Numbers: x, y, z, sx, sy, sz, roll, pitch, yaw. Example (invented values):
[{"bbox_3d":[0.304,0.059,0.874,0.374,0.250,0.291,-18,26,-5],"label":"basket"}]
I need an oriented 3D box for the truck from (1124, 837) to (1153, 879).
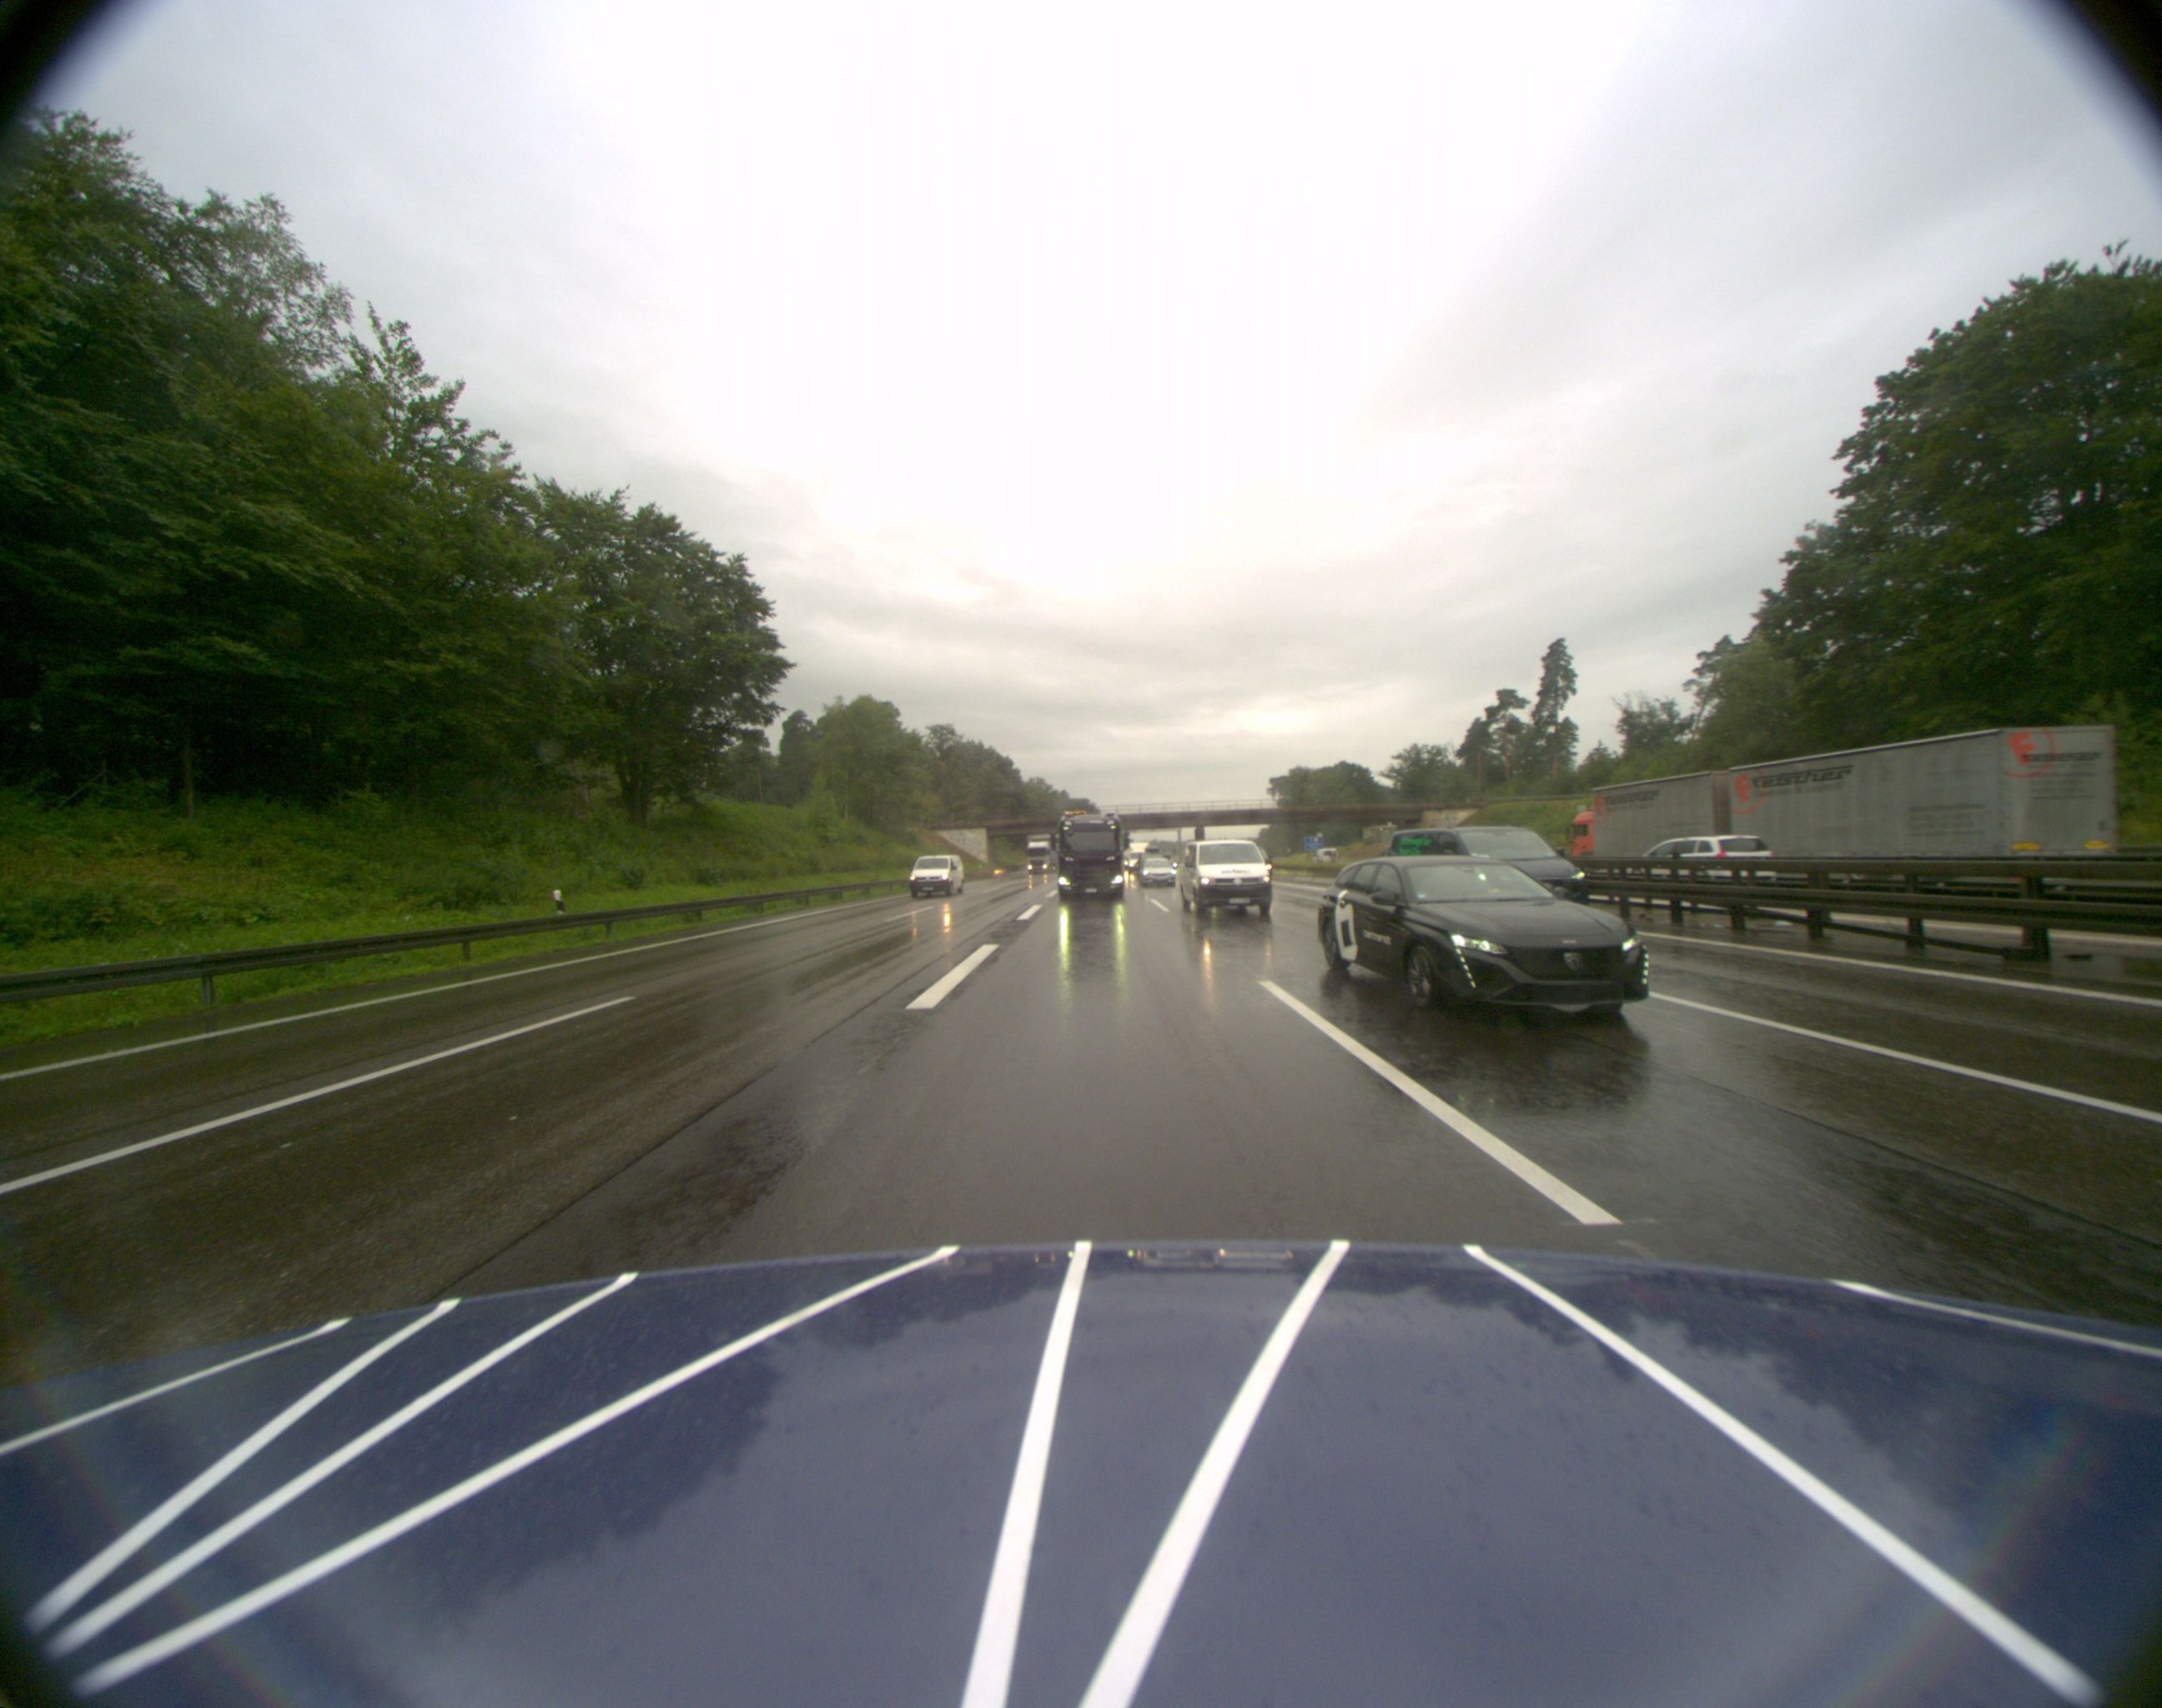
[{"bbox_3d":[5.817,0.373,77.321,2.521,3.941,6.995,-2,0,2],"label":"truck"}]

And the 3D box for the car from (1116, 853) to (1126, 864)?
[{"bbox_3d":[8.154,0.883,155.138,1.998,2.002,4.000,-2,0,1],"label":"car"}]

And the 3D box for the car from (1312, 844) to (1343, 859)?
[{"bbox_3d":[25.574,-0.249,78.939,1.840,1.489,4.332,-2,0,1],"label":"car"}]

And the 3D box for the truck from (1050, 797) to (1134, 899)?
[{"bbox_3d":[0.659,-0.270,32.673,2.879,3.528,10.912,-2,1,3],"label":"truck"}]

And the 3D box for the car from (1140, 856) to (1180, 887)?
[{"bbox_3d":[4.227,0.902,41.122,1.850,1.496,4.467,-2,0,2],"label":"car"}]

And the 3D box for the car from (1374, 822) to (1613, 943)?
[{"bbox_3d":[7.811,0.461,15.163,1.996,1.932,5.243,-2,0,2],"label":"car"}]

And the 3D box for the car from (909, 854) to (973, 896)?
[{"bbox_3d":[-6.814,0.971,37.429,1.994,1.909,4.768,-2,0,3],"label":"car"}]

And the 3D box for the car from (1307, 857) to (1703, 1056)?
[{"bbox_3d":[3.940,0.805,8.115,1.850,1.495,4.467,-1,0,2],"label":"car"}]

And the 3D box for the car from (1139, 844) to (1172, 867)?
[{"bbox_3d":[5.330,0.096,54.846,1.994,1.551,4.768,-2,0,2],"label":"car"}]

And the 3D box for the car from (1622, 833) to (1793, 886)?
[{"bbox_3d":[19.677,0.163,24.153,1.840,1.489,4.332,-2,0,0],"label":"car"}]

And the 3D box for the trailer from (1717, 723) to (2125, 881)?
[{"bbox_3d":[24.348,-1.273,23.130,2.689,3.795,9.008,-2,0,3],"label":"trailer"}]

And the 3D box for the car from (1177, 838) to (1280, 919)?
[{"bbox_3d":[3.871,0.593,20.721,1.994,1.869,4.768,-2,0,2],"label":"car"}]

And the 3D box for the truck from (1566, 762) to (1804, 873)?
[{"bbox_3d":[24.933,-1.307,32.383,2.710,3.909,10.030,-2,0,4],"label":"truck"}]

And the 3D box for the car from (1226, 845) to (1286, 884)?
[{"bbox_3d":[8.986,0.498,39.397,1.915,1.852,4.758,-2,0,0],"label":"car"}]

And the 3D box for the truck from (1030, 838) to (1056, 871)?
[{"bbox_3d":[-4.819,0.008,97.007,2.608,3.990,6.013,-3,1,2],"label":"truck"}]

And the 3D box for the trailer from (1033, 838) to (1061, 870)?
[{"bbox_3d":[-4.464,-0.040,103.281,2.560,3.990,13.715,-2,0,2],"label":"trailer"}]
